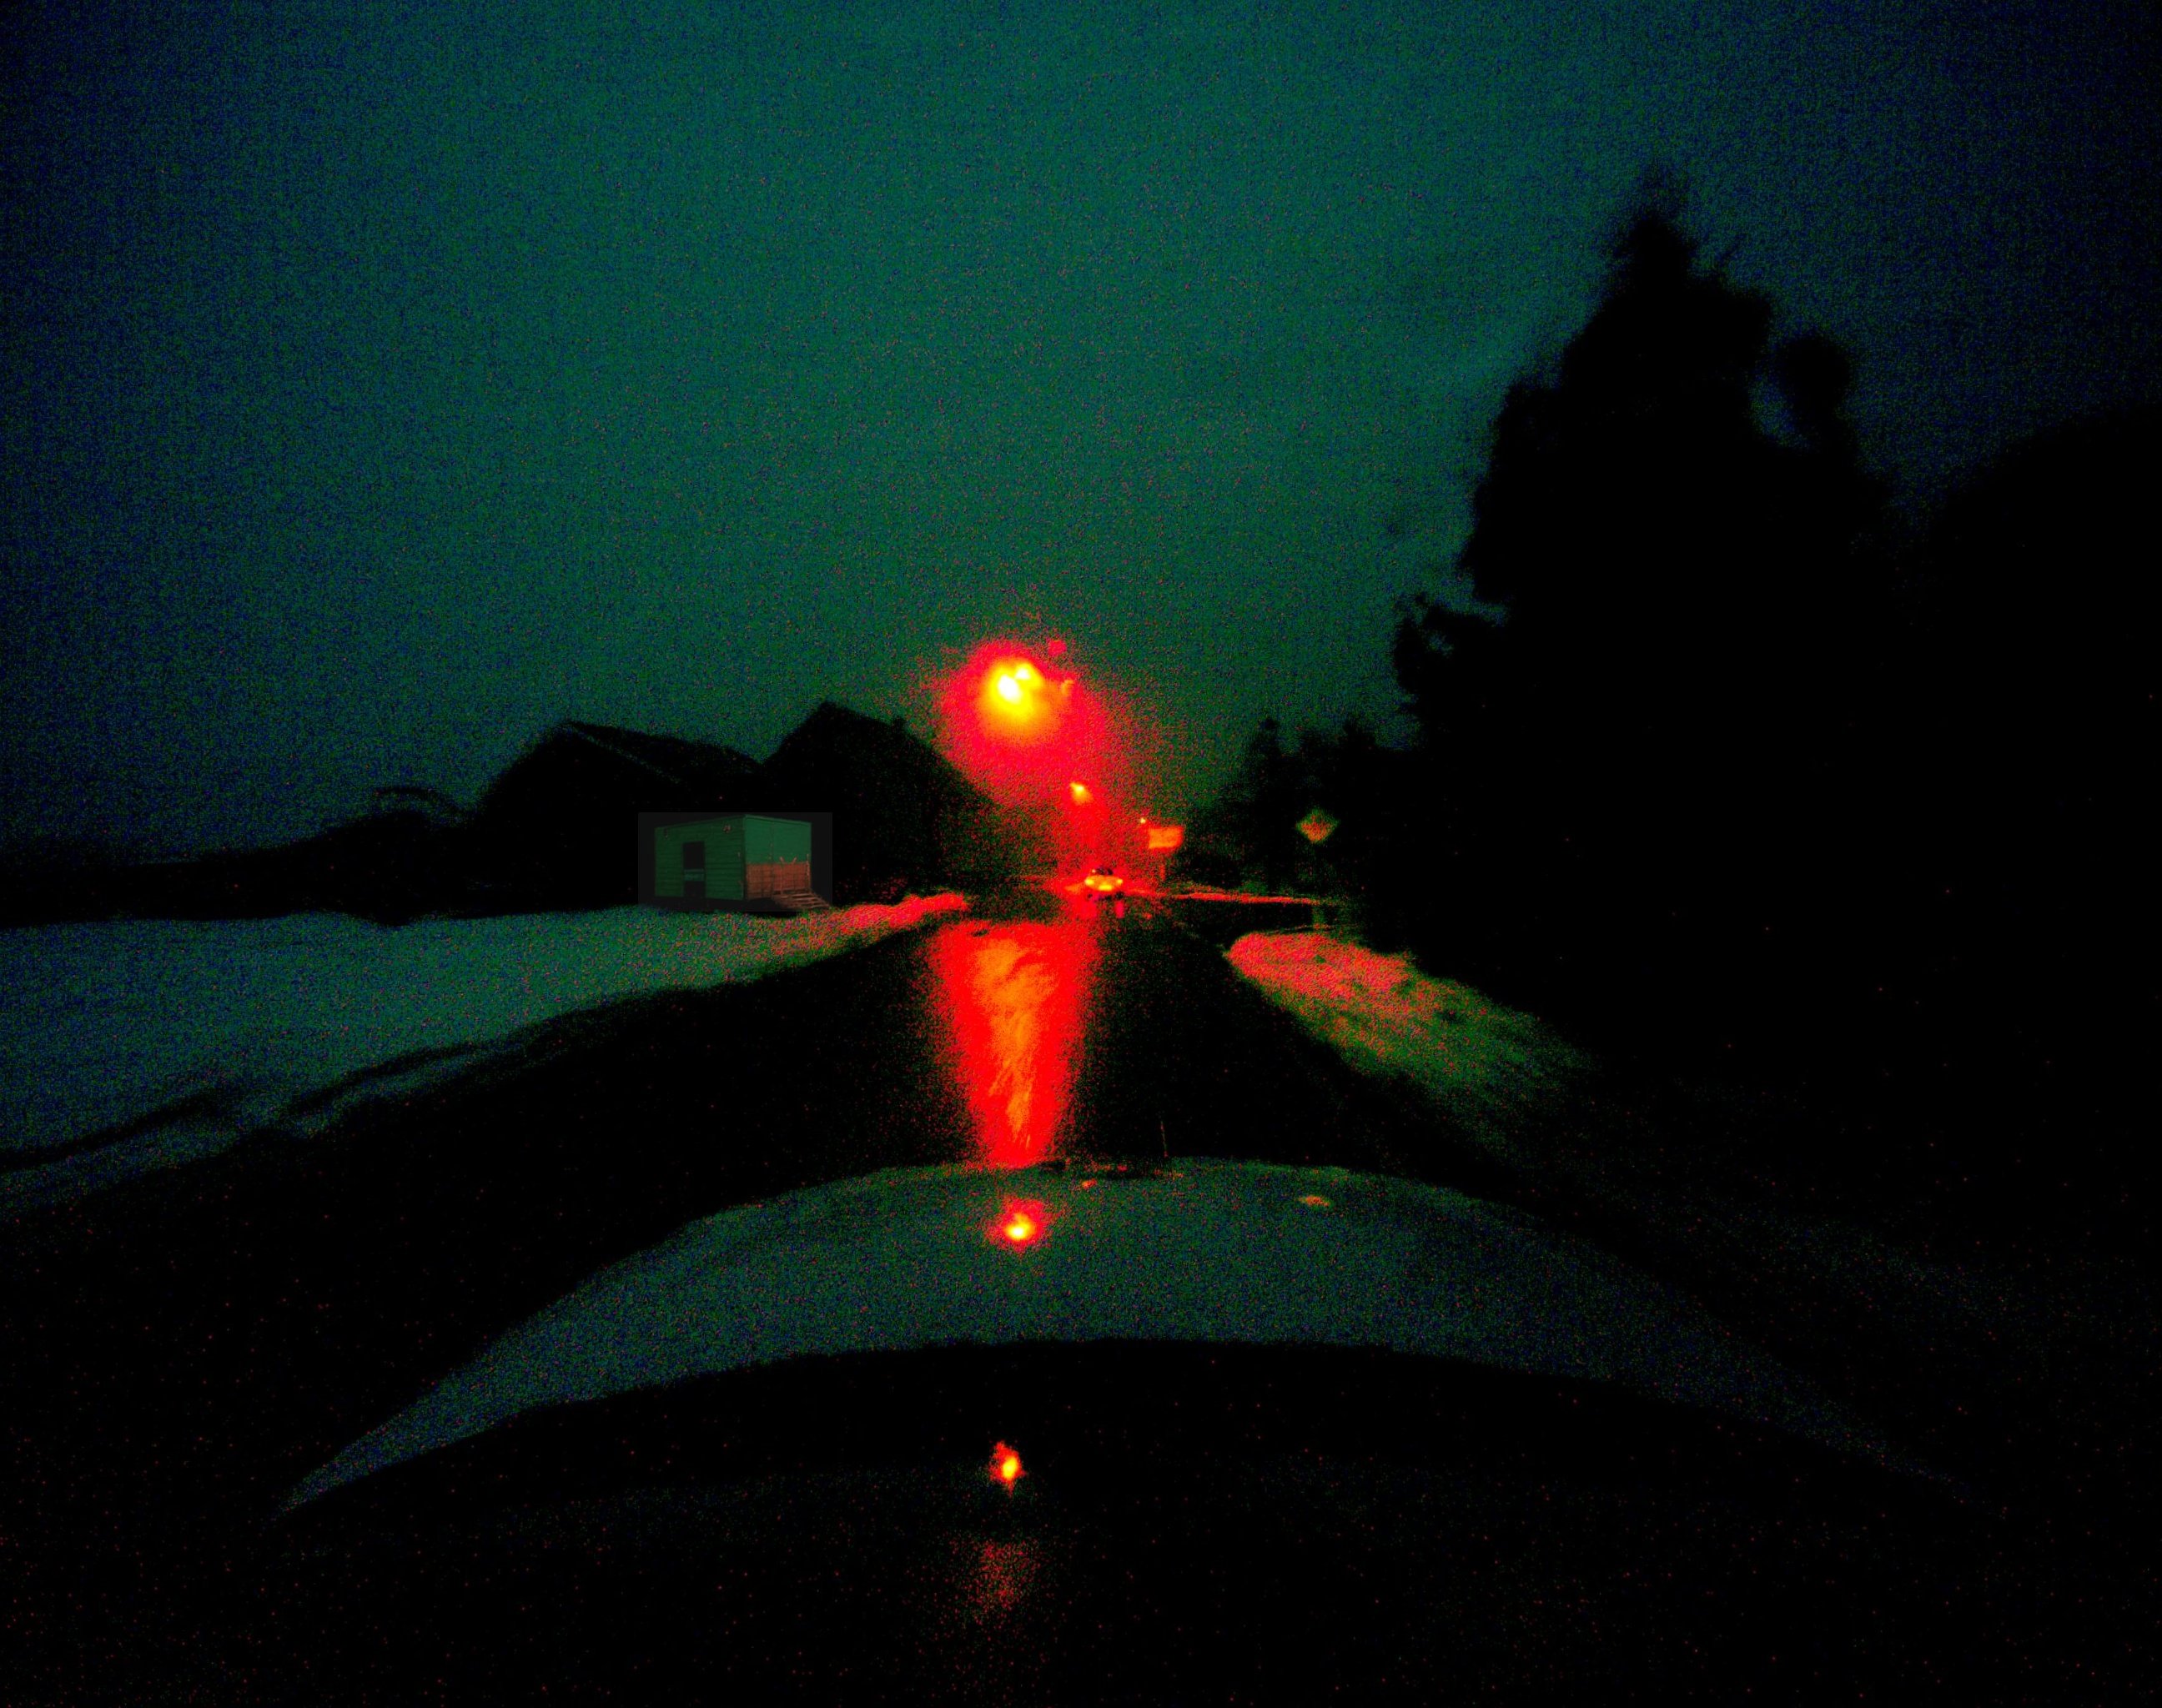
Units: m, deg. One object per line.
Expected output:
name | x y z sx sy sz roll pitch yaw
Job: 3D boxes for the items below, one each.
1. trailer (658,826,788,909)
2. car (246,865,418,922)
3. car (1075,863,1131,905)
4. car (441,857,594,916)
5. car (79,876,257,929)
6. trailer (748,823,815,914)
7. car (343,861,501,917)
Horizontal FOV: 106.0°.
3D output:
trailer | -11.922 0.400 27.431 1.981 2.489 4.021 -3 0 9
car | -26.171 1.339 28.676 1.982 1.662 4.009 -3 0 8
car | 1.017 1.255 34.940 1.983 1.508 4.007 -3 0 6
car | -19.479 1.068 28.387 1.980 1.717 4.013 -3 0 11
car | -34.798 1.801 31.218 1.982 1.662 4.010 -3 0 9
trailer | -9.398 0.426 25.765 1.694 2.605 3.423 -3 0 -18
car | -23.174 1.175 28.875 1.983 1.662 4.009 -3 0 7
